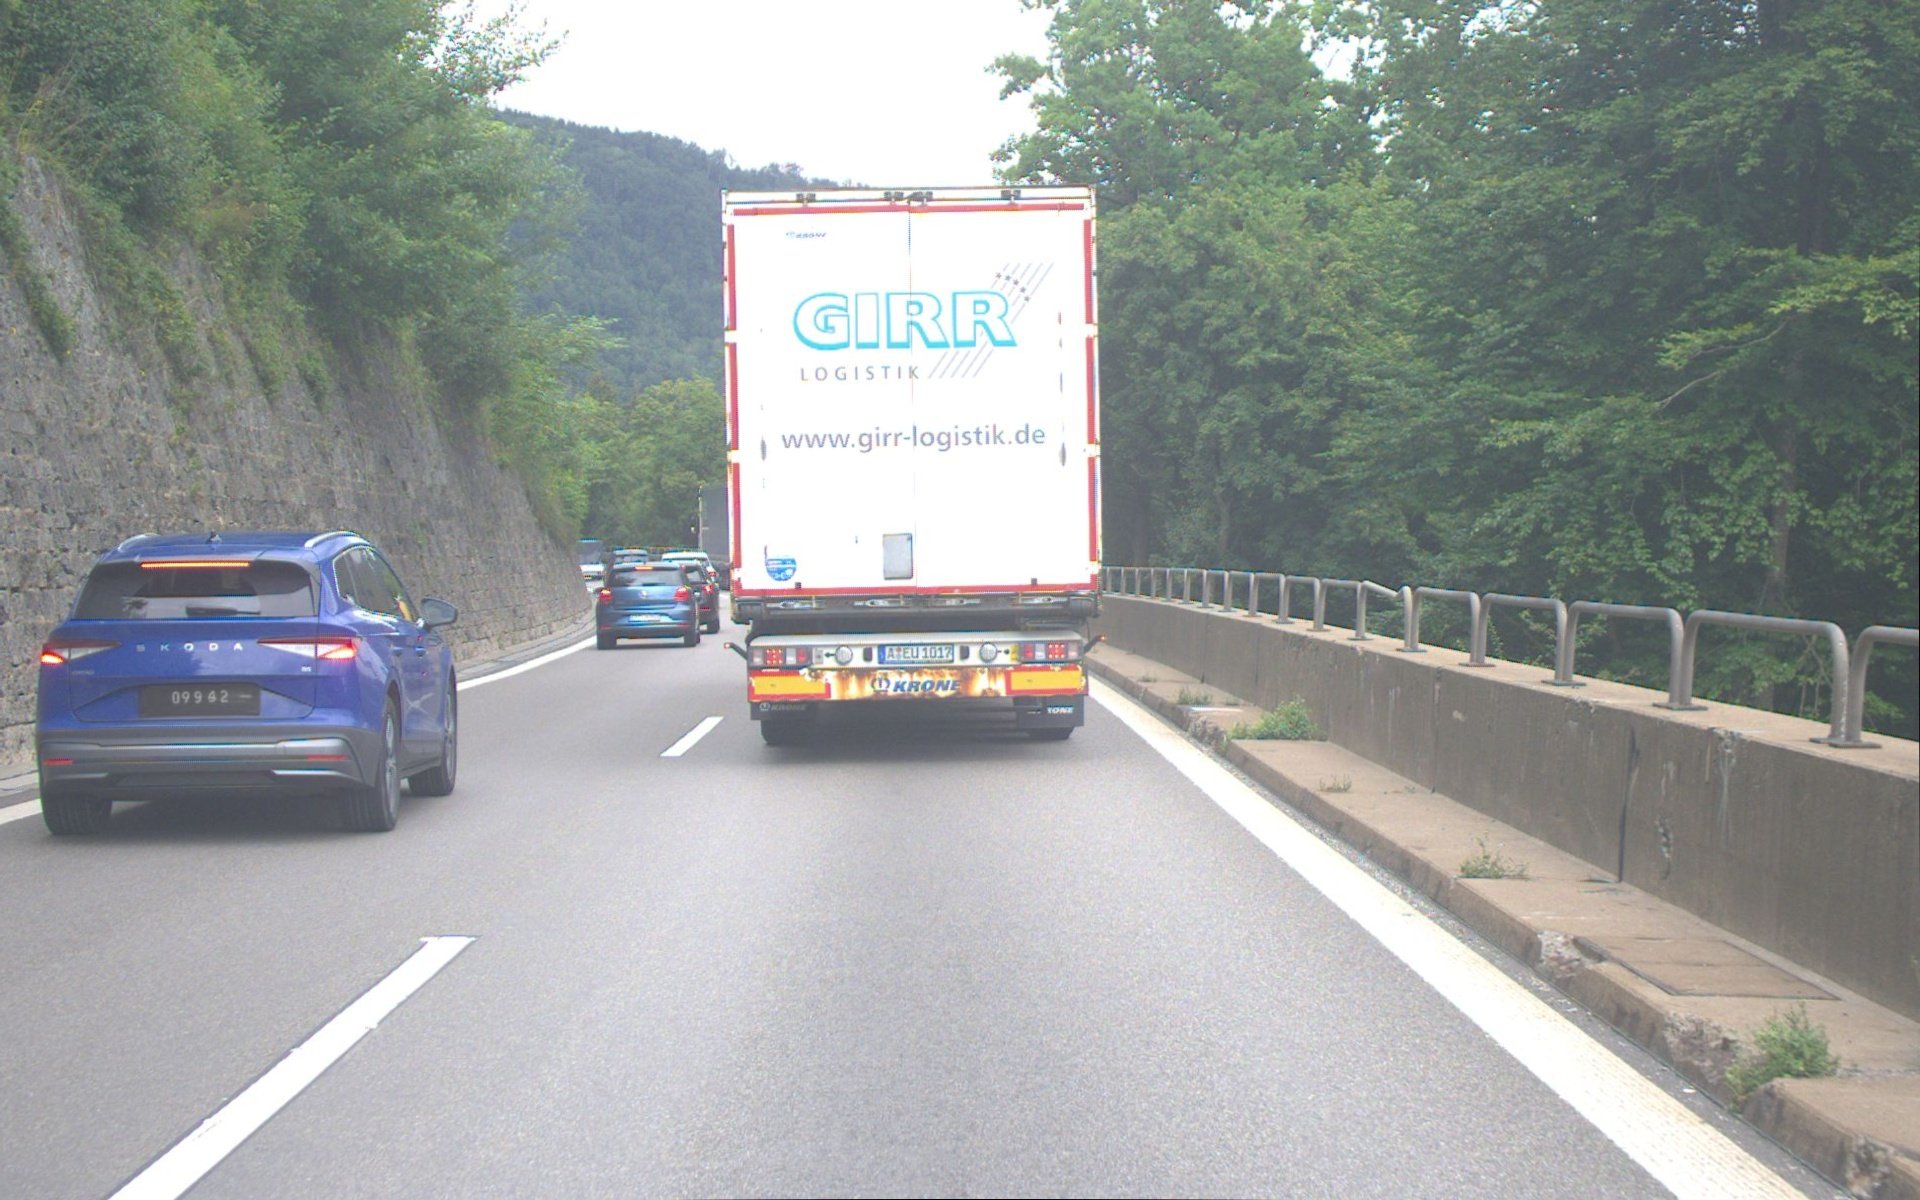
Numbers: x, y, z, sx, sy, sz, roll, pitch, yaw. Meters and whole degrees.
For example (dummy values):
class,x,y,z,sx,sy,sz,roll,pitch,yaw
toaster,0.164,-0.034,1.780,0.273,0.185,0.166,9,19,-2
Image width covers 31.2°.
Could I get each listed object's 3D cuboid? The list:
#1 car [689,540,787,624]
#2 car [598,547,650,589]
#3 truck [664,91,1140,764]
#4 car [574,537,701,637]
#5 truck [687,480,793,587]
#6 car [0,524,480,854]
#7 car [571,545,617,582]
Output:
class,x,y,z,sx,sy,sz,roll,pitch,yaw
car,-4.379,-0.378,68.172,1.745,1.581,4.000,1,1,-2
car,-12.769,-1.237,130.461,1.896,1.545,4.250,-1,1,-6
truck,-0.564,-1.275,30.720,3.084,4.449,15.157,1,1,-1
car,-5.441,-0.208,58.522,1.993,1.590,4.354,-1,0,-4
truck,-8.403,-2.494,129.950,2.633,3.844,12.363,0,1,-10
car,-4.049,0.412,19.728,1.993,1.626,5.009,-1,1,-1
car,-17.184,-1.719,161.295,1.745,1.581,4.001,5,0,-10
